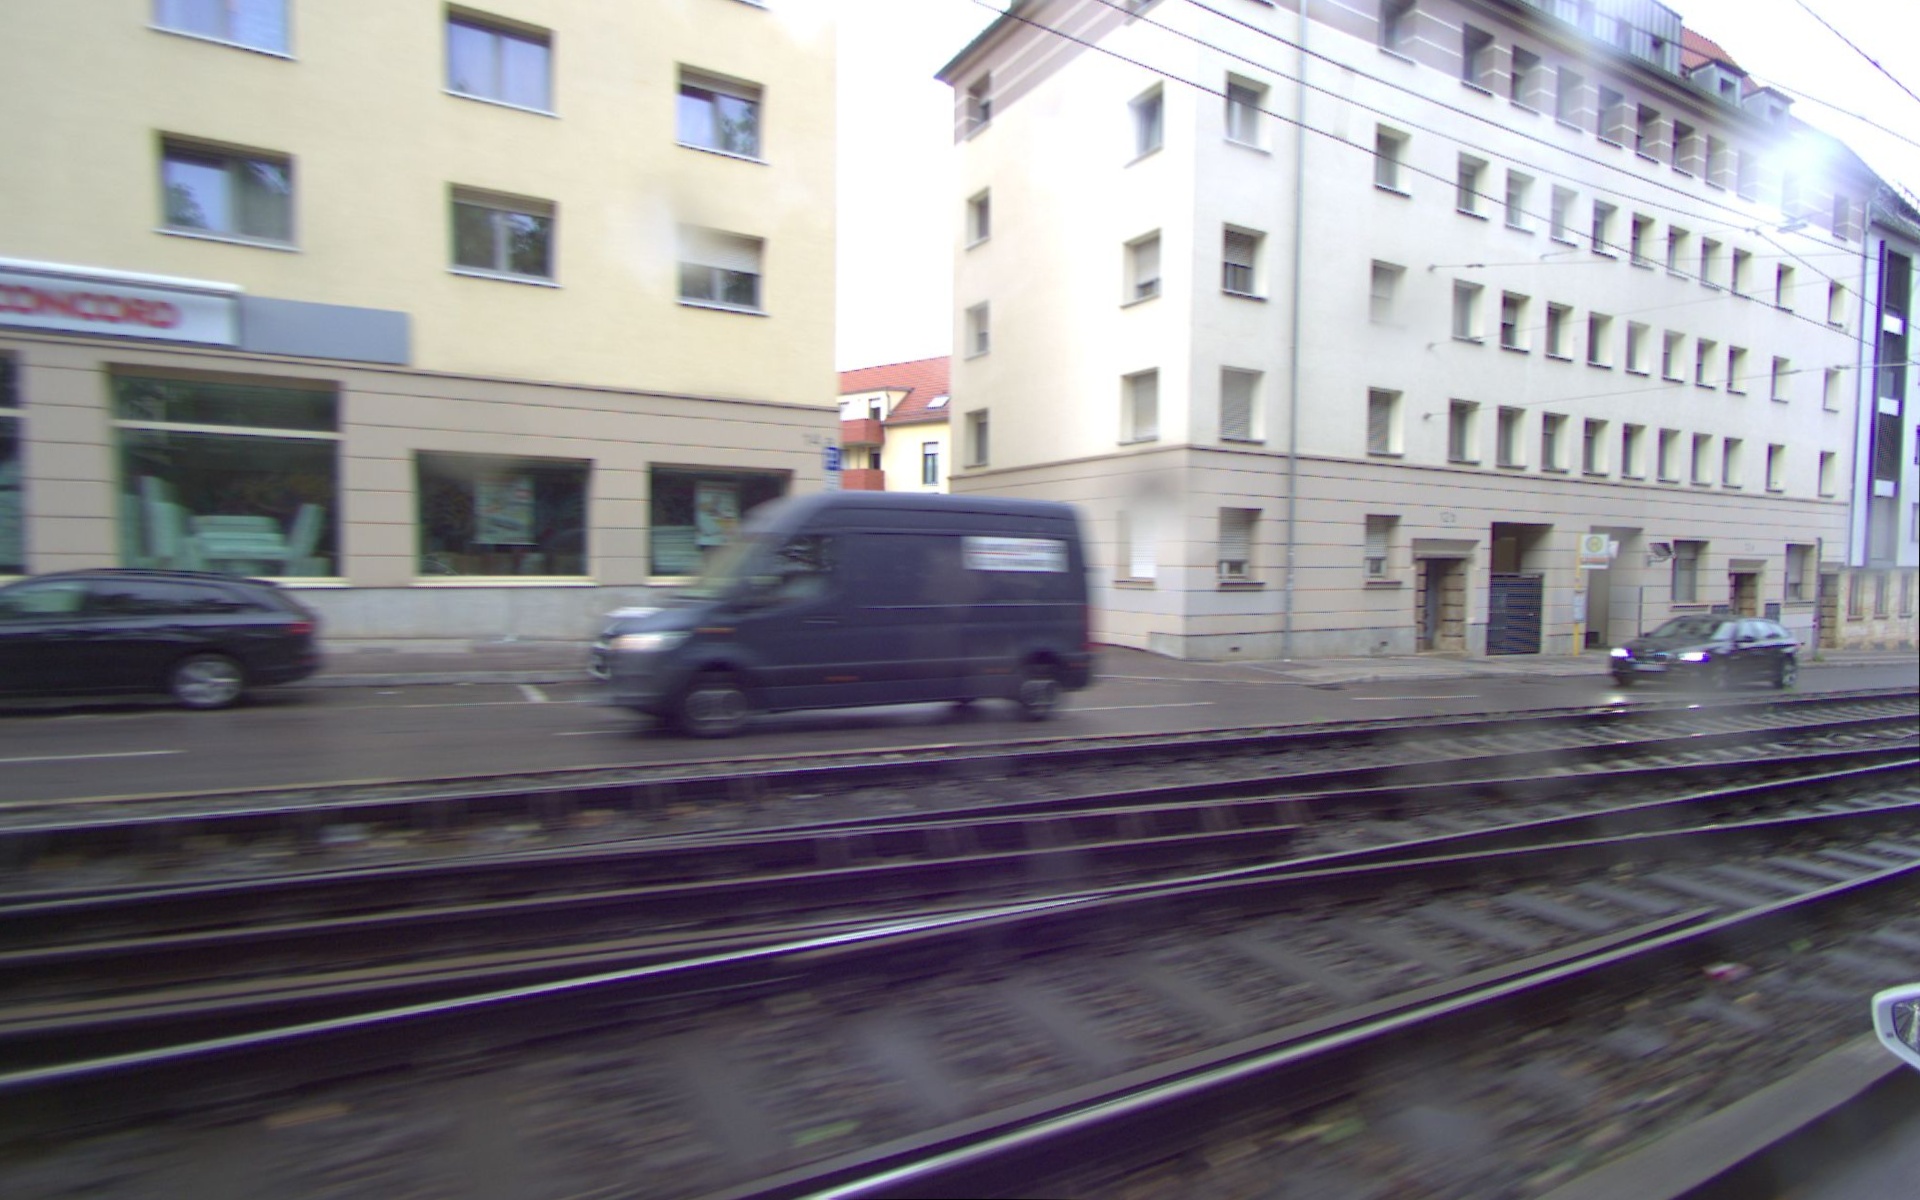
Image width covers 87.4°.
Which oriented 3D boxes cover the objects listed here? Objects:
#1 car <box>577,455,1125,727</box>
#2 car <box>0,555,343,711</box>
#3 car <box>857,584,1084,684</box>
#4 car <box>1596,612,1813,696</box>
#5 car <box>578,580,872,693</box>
[{"bbox_3d":[-1.078,-0.012,11.546,5.928,2.484,1.984,2,0,-30],"label":"car"},{"bbox_3d":[-9.452,0.306,10.998,4.529,1.519,1.804,1,2,-31],"label":"car"},{"bbox_3d":[0.210,0.545,17.209,3.503,1.469,1.698,1,3,-33],"label":"car"},{"bbox_3d":[15.446,1.031,20.783,4.797,1.506,1.871,1,1,-30],"label":"car"},{"bbox_3d":[-3.432,0.504,14.916,3.894,1.415,1.693,1,3,-34],"label":"car"}]
